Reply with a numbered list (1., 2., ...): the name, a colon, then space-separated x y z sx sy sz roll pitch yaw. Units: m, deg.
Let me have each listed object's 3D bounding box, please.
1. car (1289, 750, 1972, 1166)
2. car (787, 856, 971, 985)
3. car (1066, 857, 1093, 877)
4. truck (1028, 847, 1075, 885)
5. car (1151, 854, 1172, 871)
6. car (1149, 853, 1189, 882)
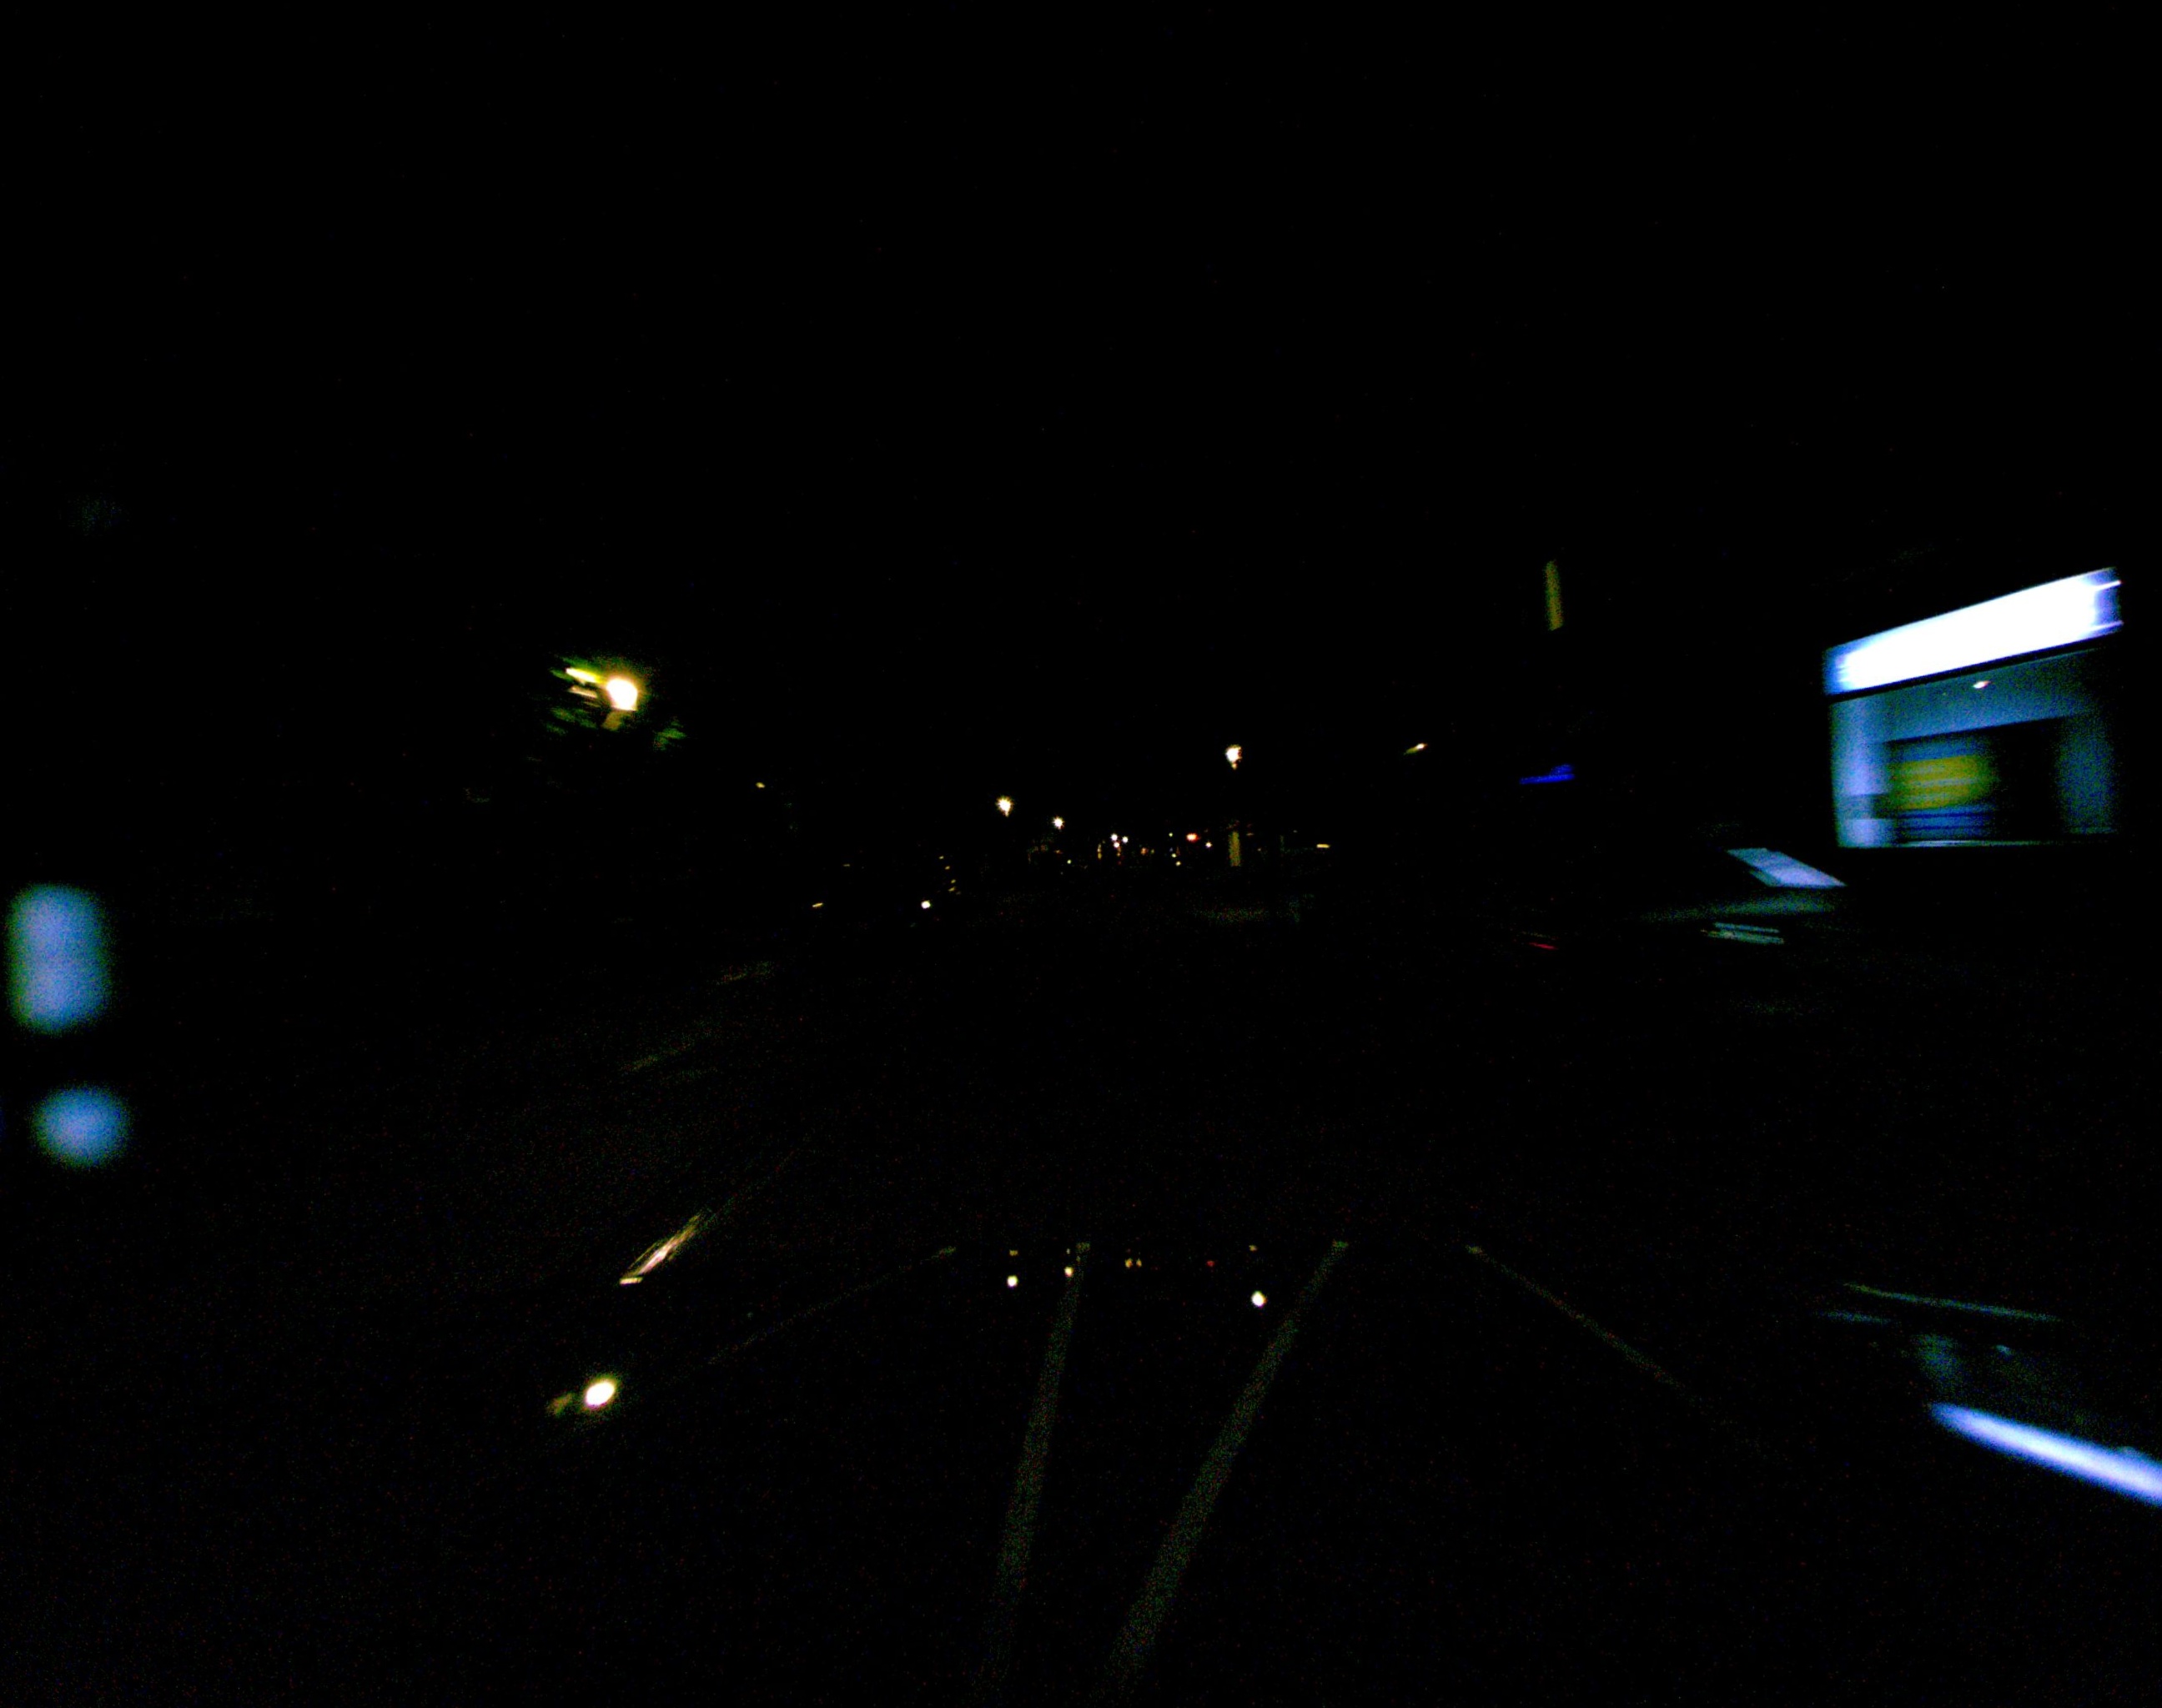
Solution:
1. car: 3.506 0.541 6.414 1.930 1.953 5.076 -5 0 0
2. car: -3.330 0.987 13.672 1.912 1.792 4.936 -3 0 0
3. car: -0.082 1.057 63.974 1.737 1.492 4.002 -3 0 6
4. truck: -1.819 0.740 49.317 2.109 2.230 6.290 -3 0 5
5. car: 7.642 0.795 72.100 1.836 1.458 4.002 -3 0 6
6. car: 5.037 0.773 44.105 1.795 1.496 4.000 -4 0 1
